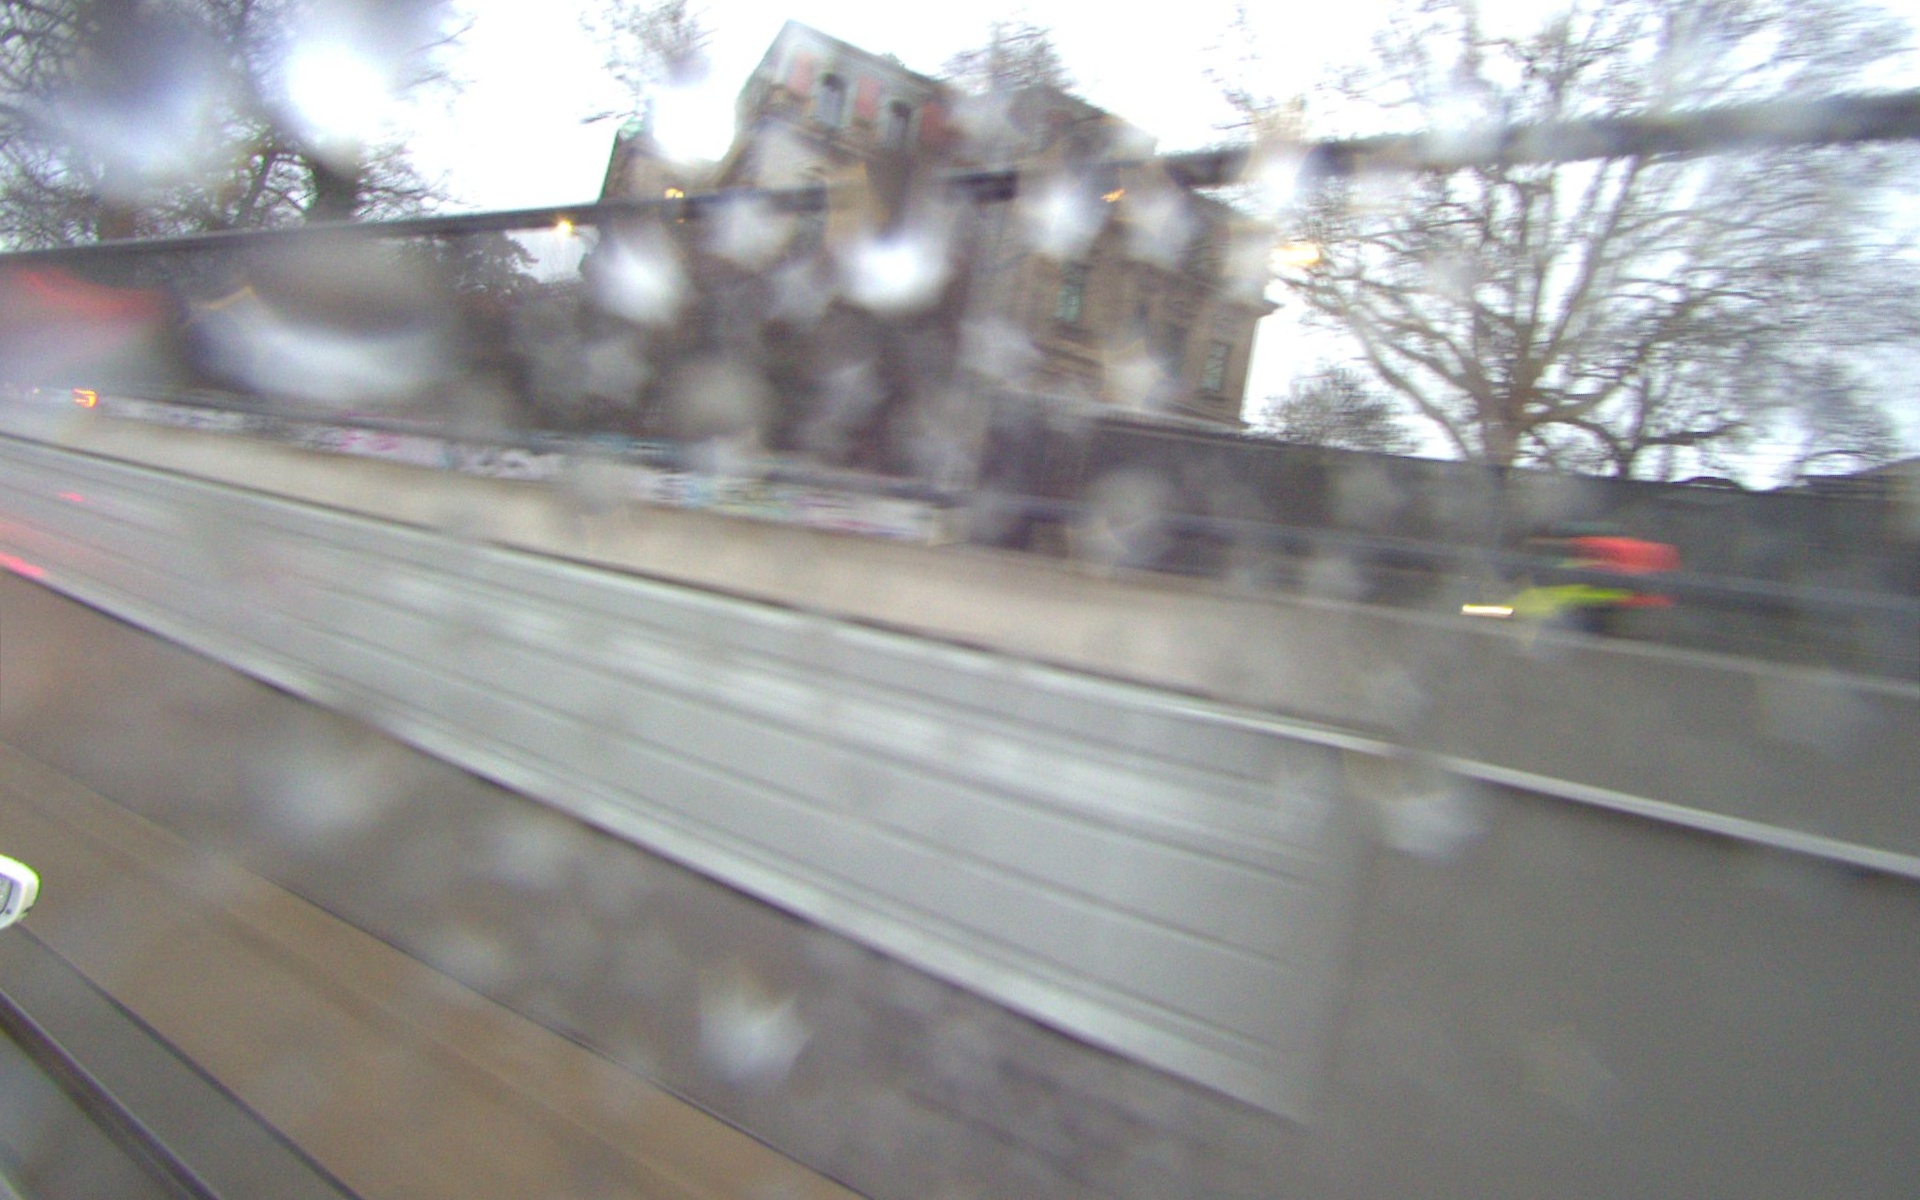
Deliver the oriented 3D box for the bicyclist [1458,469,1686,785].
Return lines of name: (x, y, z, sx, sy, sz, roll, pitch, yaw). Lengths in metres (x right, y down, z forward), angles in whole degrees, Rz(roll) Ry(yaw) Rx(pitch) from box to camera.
bicyclist: (3.453, 0.138, 5.731, 0.823, 1.611, 0.500, 11, 3, 31)

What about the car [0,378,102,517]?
car: (-13.092, -2.161, 13.166, 3.935, 1.496, 1.725, 10, -1, 34)

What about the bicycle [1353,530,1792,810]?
bicycle: (3.390, 0.338, 5.764, 1.915, 1.200, 0.412, 11, 3, 31)
